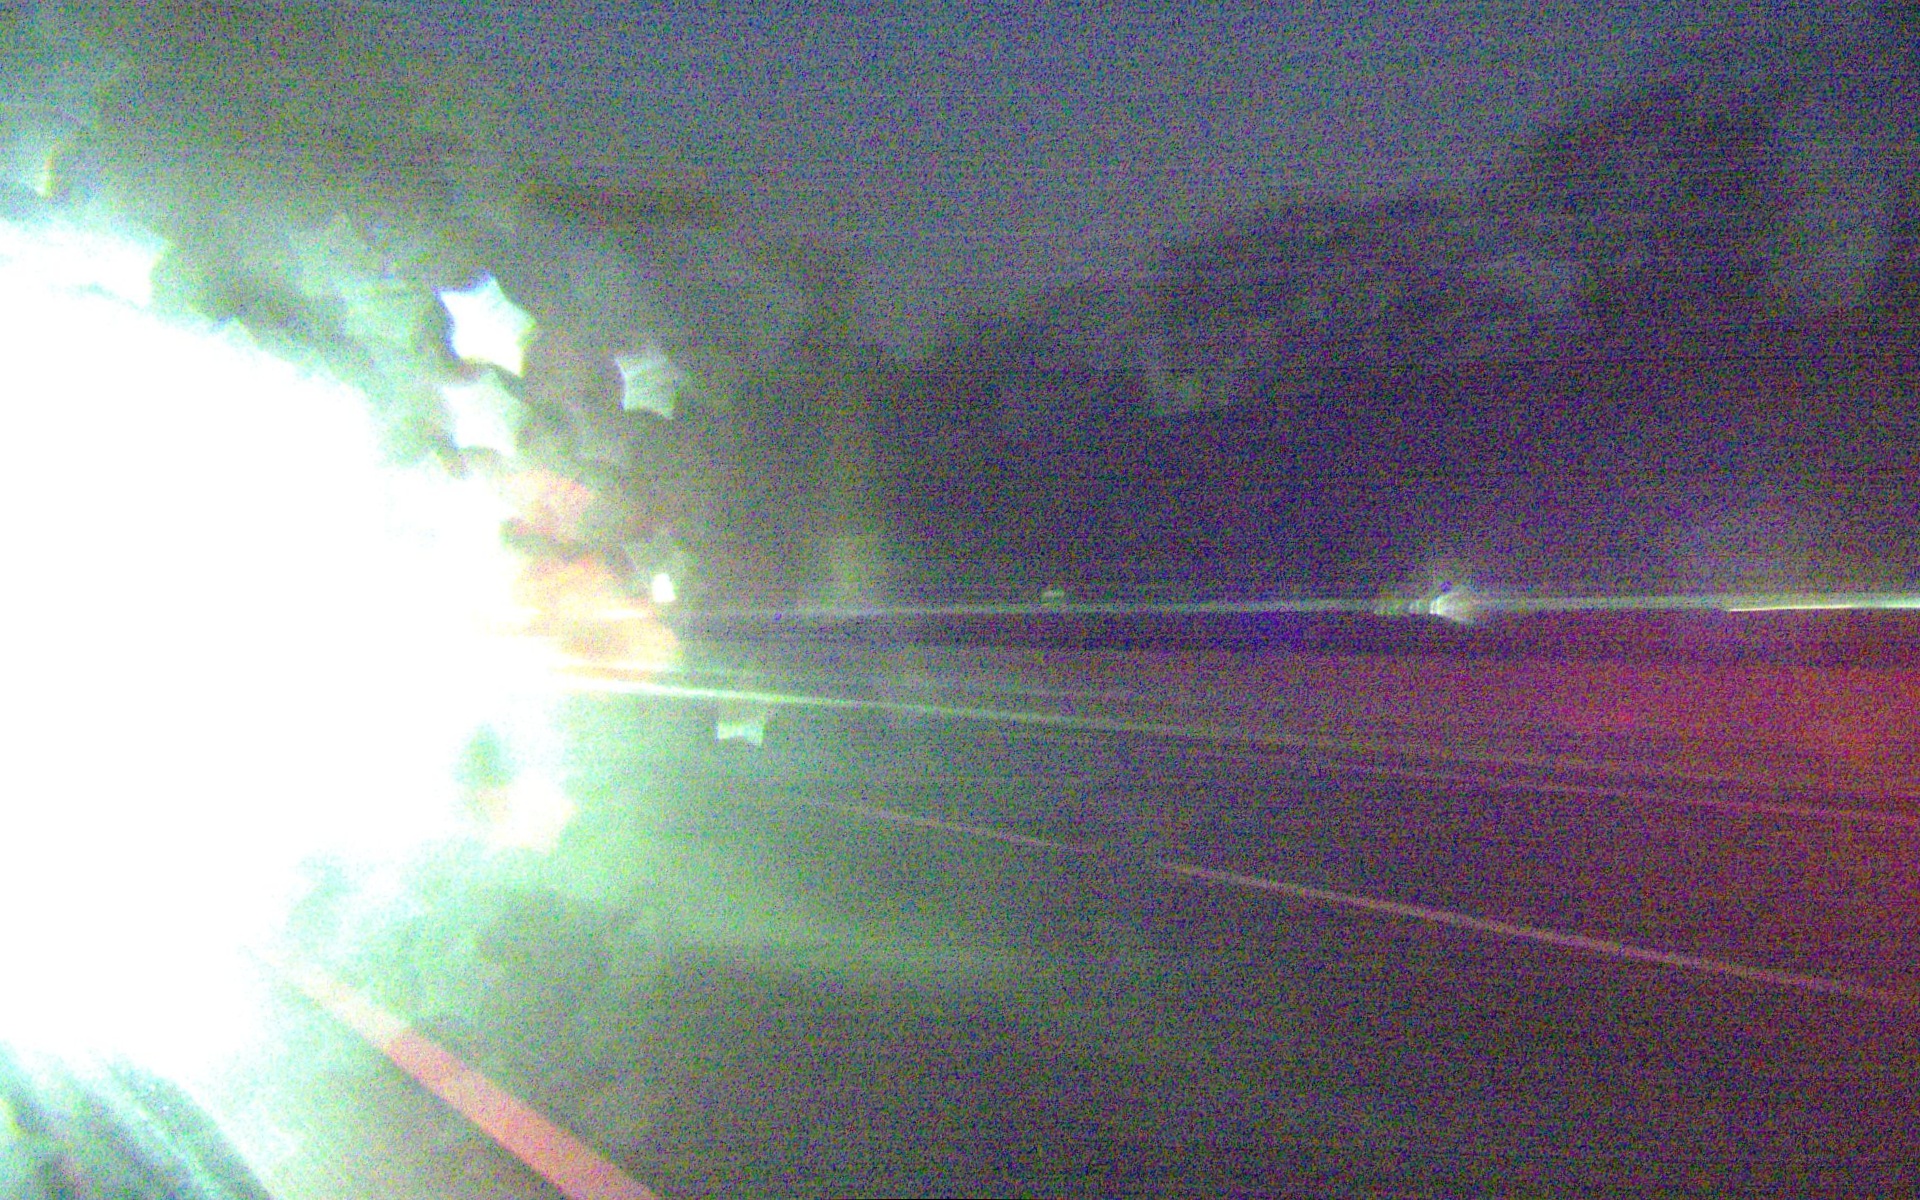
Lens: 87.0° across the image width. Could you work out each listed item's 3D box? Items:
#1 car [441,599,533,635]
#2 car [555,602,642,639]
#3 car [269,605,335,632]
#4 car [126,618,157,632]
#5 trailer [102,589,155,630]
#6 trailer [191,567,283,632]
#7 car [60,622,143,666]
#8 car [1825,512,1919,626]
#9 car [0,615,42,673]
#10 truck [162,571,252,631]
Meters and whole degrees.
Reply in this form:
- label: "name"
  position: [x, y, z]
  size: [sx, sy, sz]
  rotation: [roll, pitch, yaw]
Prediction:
- label: "car"
  position: [-21.569, 0.747, 46.058]
  size: [4.896, 1.475, 1.952]
  rotation: [-1, 2, 41]
- label: "car"
  position: [-16.340, 0.906, 45.655]
  size: [4.298, 1.475, 1.860]
  rotation: [-1, 2, 43]
- label: "car"
  position: [-40.488, 1.145, 62.203]
  size: [5.367, 1.475, 1.952]
  rotation: [-1, 2, 41]
- label: "car"
  position: [-83.187, 2.539, 102.819]
  size: [4.270, 1.230, 1.689]
  rotation: [-1, 2, 41]
- label: "trailer"
  position: [-119.671, 1.368, 145.601]
  size: [13.748, 5.486, 4.122]
  rotation: [-1, 0, 43]
- label: "trailer"
  position: [-63.707, 0.018, 89.093]
  size: [8.991, 5.178, 4.296]
  rotation: [-2, 3, 41]
- label: "car"
  position: [-34.724, 1.735, 40.913]
  size: [2.278, 1.621, 3.873]
  rotation: [-1, 0, -45]
- label: "car"
  position: [13.892, -0.426, 13.114]
  size: [3.996, 1.475, 1.952]
  rotation: [-1, 0, 40]
- label: "car"
  position: [-29.852, 1.345, 31.337]
  size: [1.970, 1.689, 4.003]
  rotation: [-1, 0, -44]
- label: "truck"
  position: [-71.097, 0.135, 95.439]
  size: [10.465, 5.178, 4.297]
  rotation: [-2, 3, 40]
